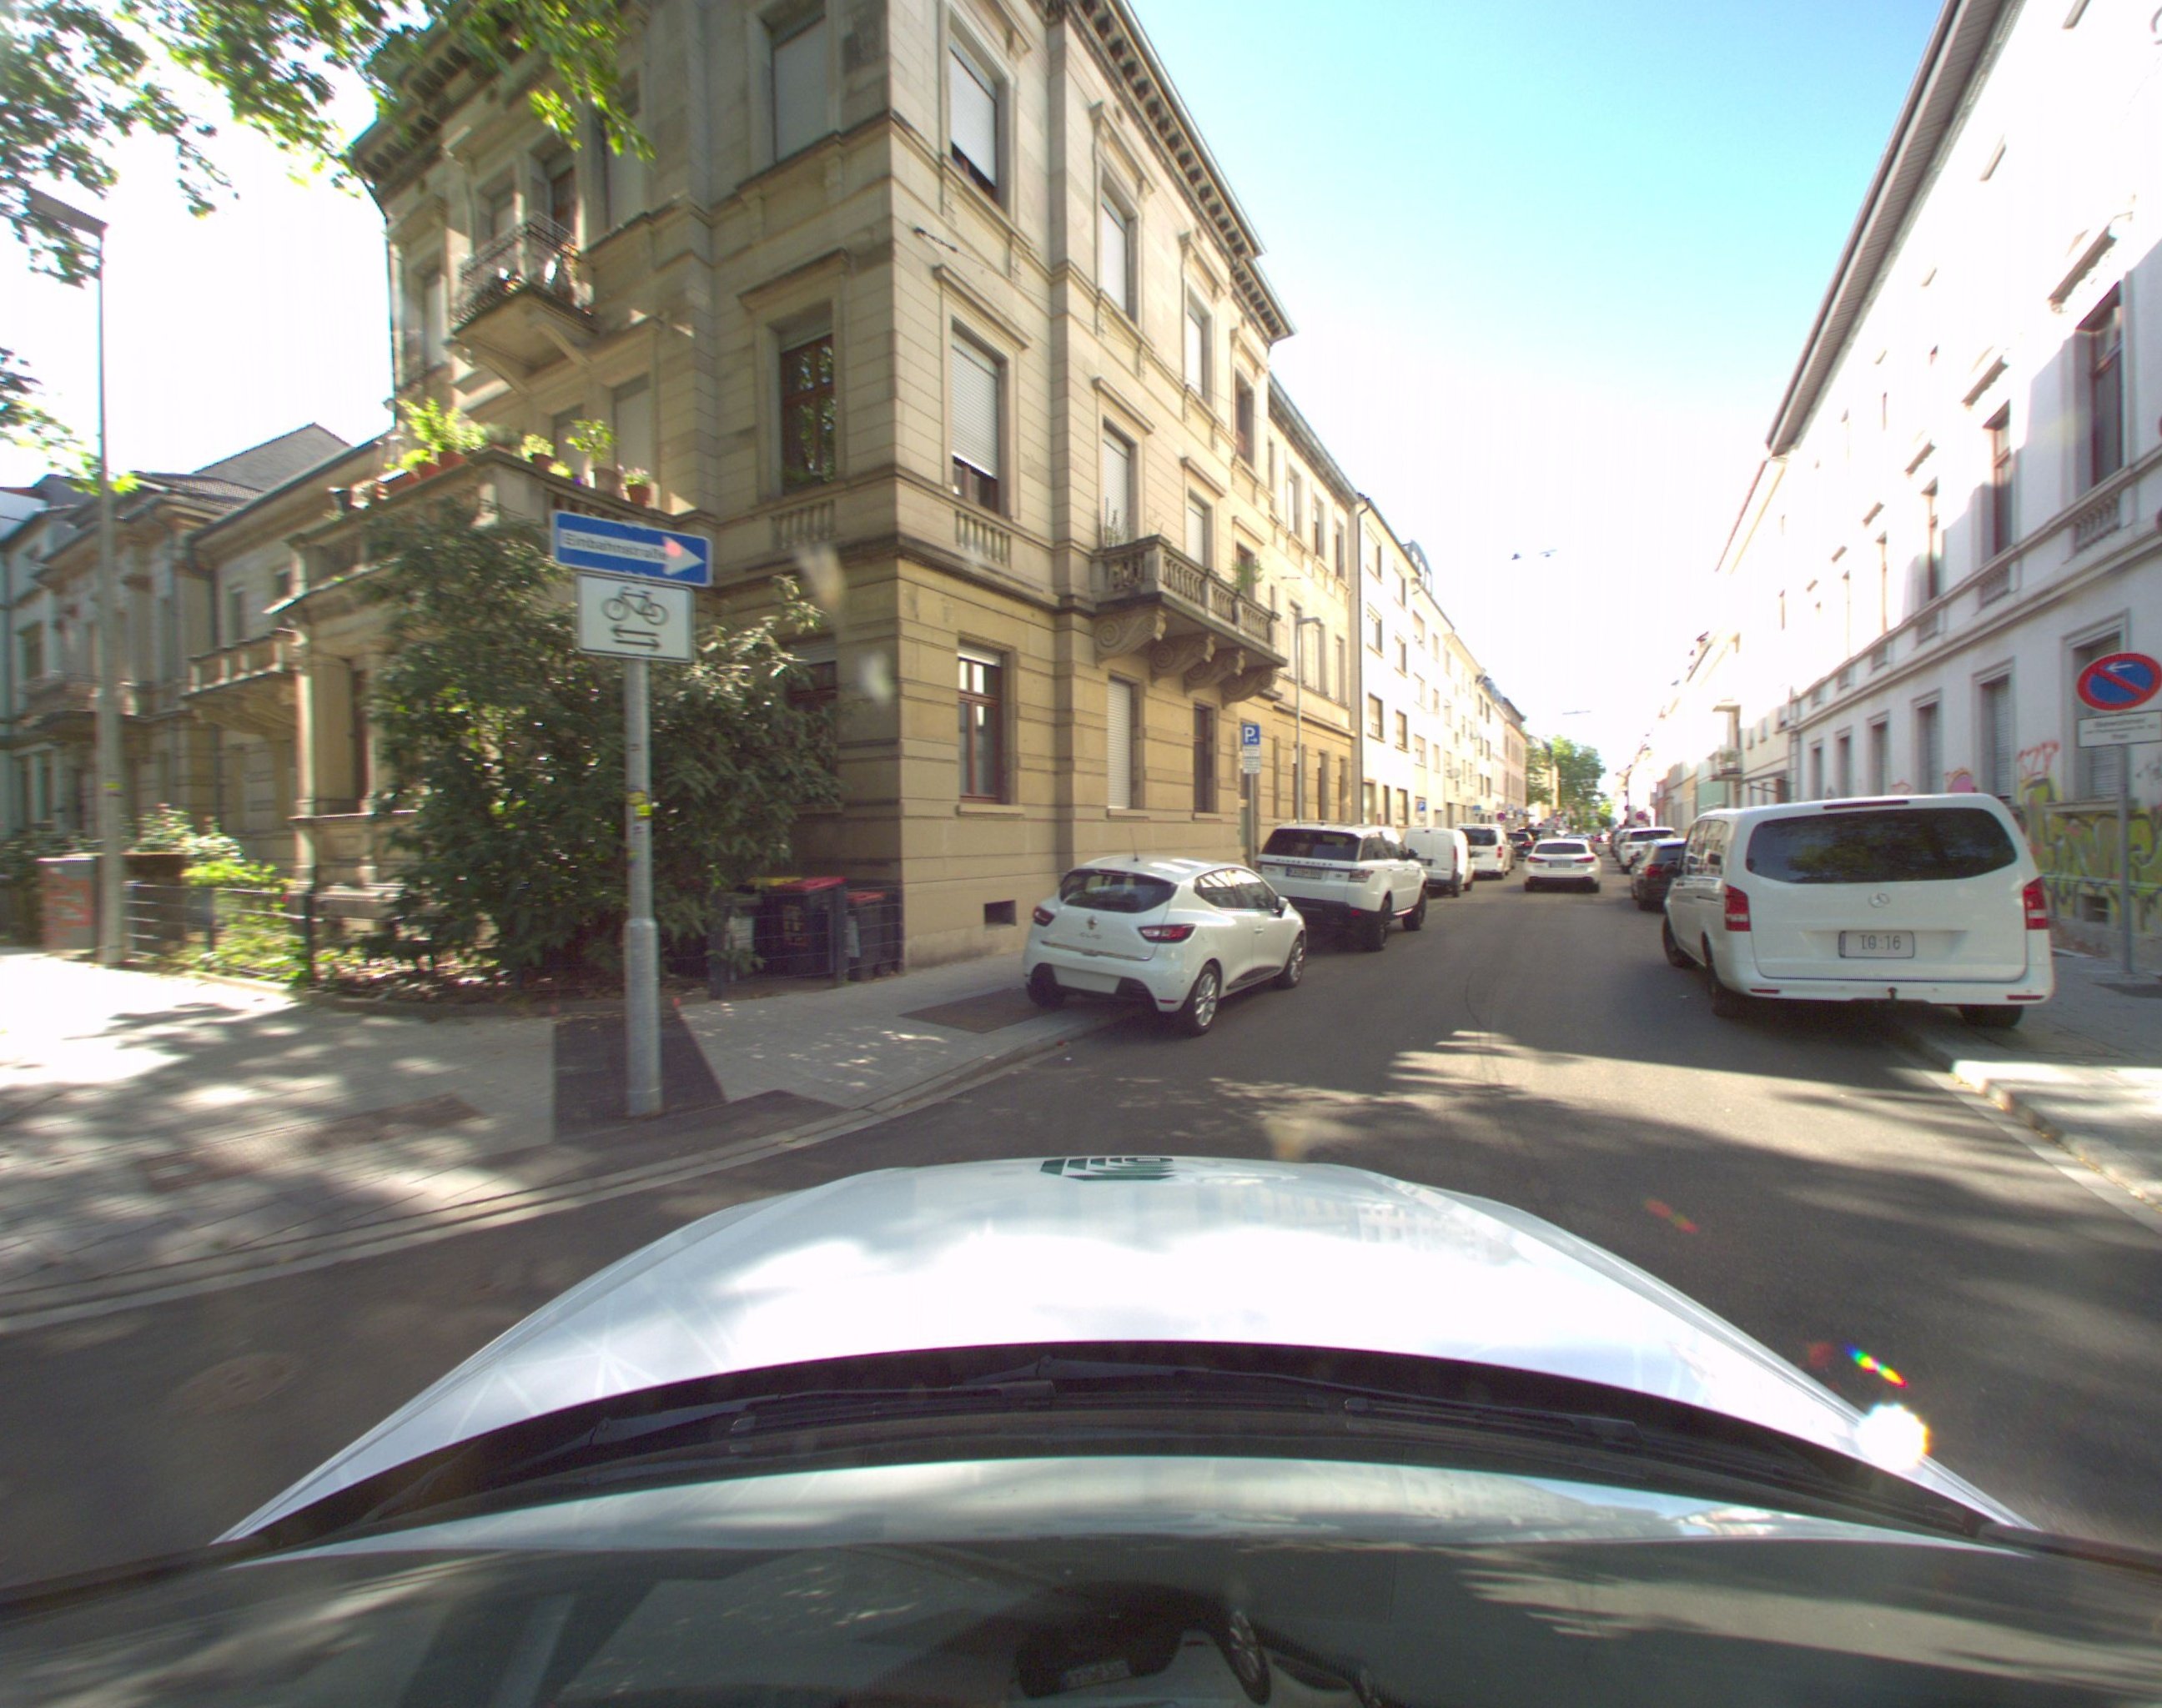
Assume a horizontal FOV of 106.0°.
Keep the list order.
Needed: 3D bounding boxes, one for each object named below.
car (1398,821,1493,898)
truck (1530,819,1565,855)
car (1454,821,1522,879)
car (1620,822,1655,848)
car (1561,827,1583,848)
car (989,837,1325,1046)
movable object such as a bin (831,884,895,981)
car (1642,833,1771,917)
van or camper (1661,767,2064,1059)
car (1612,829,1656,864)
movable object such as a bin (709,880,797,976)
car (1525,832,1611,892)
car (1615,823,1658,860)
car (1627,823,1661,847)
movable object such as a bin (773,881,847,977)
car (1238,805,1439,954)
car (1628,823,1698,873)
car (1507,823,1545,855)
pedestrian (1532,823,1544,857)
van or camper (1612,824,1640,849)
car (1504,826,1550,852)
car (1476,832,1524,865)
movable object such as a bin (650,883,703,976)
[{"bbox_3d":[10.297,0.062,22.849,1.728,1.875,4.116,4,4,32],"label":"car"},{"bbox_3d":[35.826,-1.242,62.661,2.136,2.590,6.287,-1,0,28],"label":"truck"},{"bbox_3d":[15.297,-0.221,30.458,1.876,1.958,4.812,2,3,31],"label":"car"},{"bbox_3d":[35.724,-1.265,52.381,1.722,1.577,4.406,0,2,33],"label":"car"},{"bbox_3d":[45.557,-1.500,75.607,1.631,1.867,4.025,0,1,30],"label":"car"},{"bbox_3d":[1.029,0.633,8.354,1.849,1.561,3.967,2,2,31],"label":"car"},{"bbox_3d":[-2.347,0.829,8.780,0.393,0.970,0.524,-1,1,32],"label":"movable object such as a bin"},{"bbox_3d":[13.459,0.330,17.790,1.797,1.519,4.758,2,3,33],"label":"car"},{"bbox_3d":[7.262,0.338,8.250,1.875,2.013,5.063,0,1,31],"label":"van or camper"},{"bbox_3d":[27.582,-0.418,40.685,1.565,1.632,3.705,1,2,30],"label":"car"},{"bbox_3d":[-3.625,0.799,9.026,0.541,0.970,0.694,-1,1,32],"label":"movable object such as a bin"},{"bbox_3d":[13.804,0.182,22.995,1.816,1.486,4.083,-2,0,34],"label":"car"},{"bbox_3d":[30.696,-0.672,45.072,1.765,1.961,4.364,0,1,32],"label":"car"},{"bbox_3d":[38.700,-1.291,56.034,1.725,1.568,4.058,0,1,32],"label":"car"},{"bbox_3d":[-2.970,0.802,8.941,0.541,0.970,0.524,-1,1,32],"label":"movable object such as a bin"},{"bbox_3d":[4.429,0.305,13.458,2.002,2.013,4.572,0,1,33],"label":"car"},{"bbox_3d":[22.610,-0.274,31.790,1.986,1.783,4.971,0,2,33],"label":"car"},{"bbox_3d":[26.675,-0.923,48.793,1.862,1.755,4.571,3,3,29],"label":"car"},{"bbox_3d":[30.473,-0.948,54.291,0.613,2.229,0.692,-1,-1,33],"label":"pedestrian"},{"bbox_3d":[47.055,-1.474,70.380,1.758,2.036,4.599,-2,0,31],"label":"van or camper"},{"bbox_3d":[31.168,-1.055,56.783,2.418,1.705,5.276,0,1,33],"label":"car"},{"bbox_3d":[19.718,-0.294,38.237,1.690,1.450,4.329,1,1,32],"label":"car"},{"bbox_3d":[-4.412,0.810,8.890,0.377,0.970,0.347,-1,1,32],"label":"movable object such as a bin"}]
